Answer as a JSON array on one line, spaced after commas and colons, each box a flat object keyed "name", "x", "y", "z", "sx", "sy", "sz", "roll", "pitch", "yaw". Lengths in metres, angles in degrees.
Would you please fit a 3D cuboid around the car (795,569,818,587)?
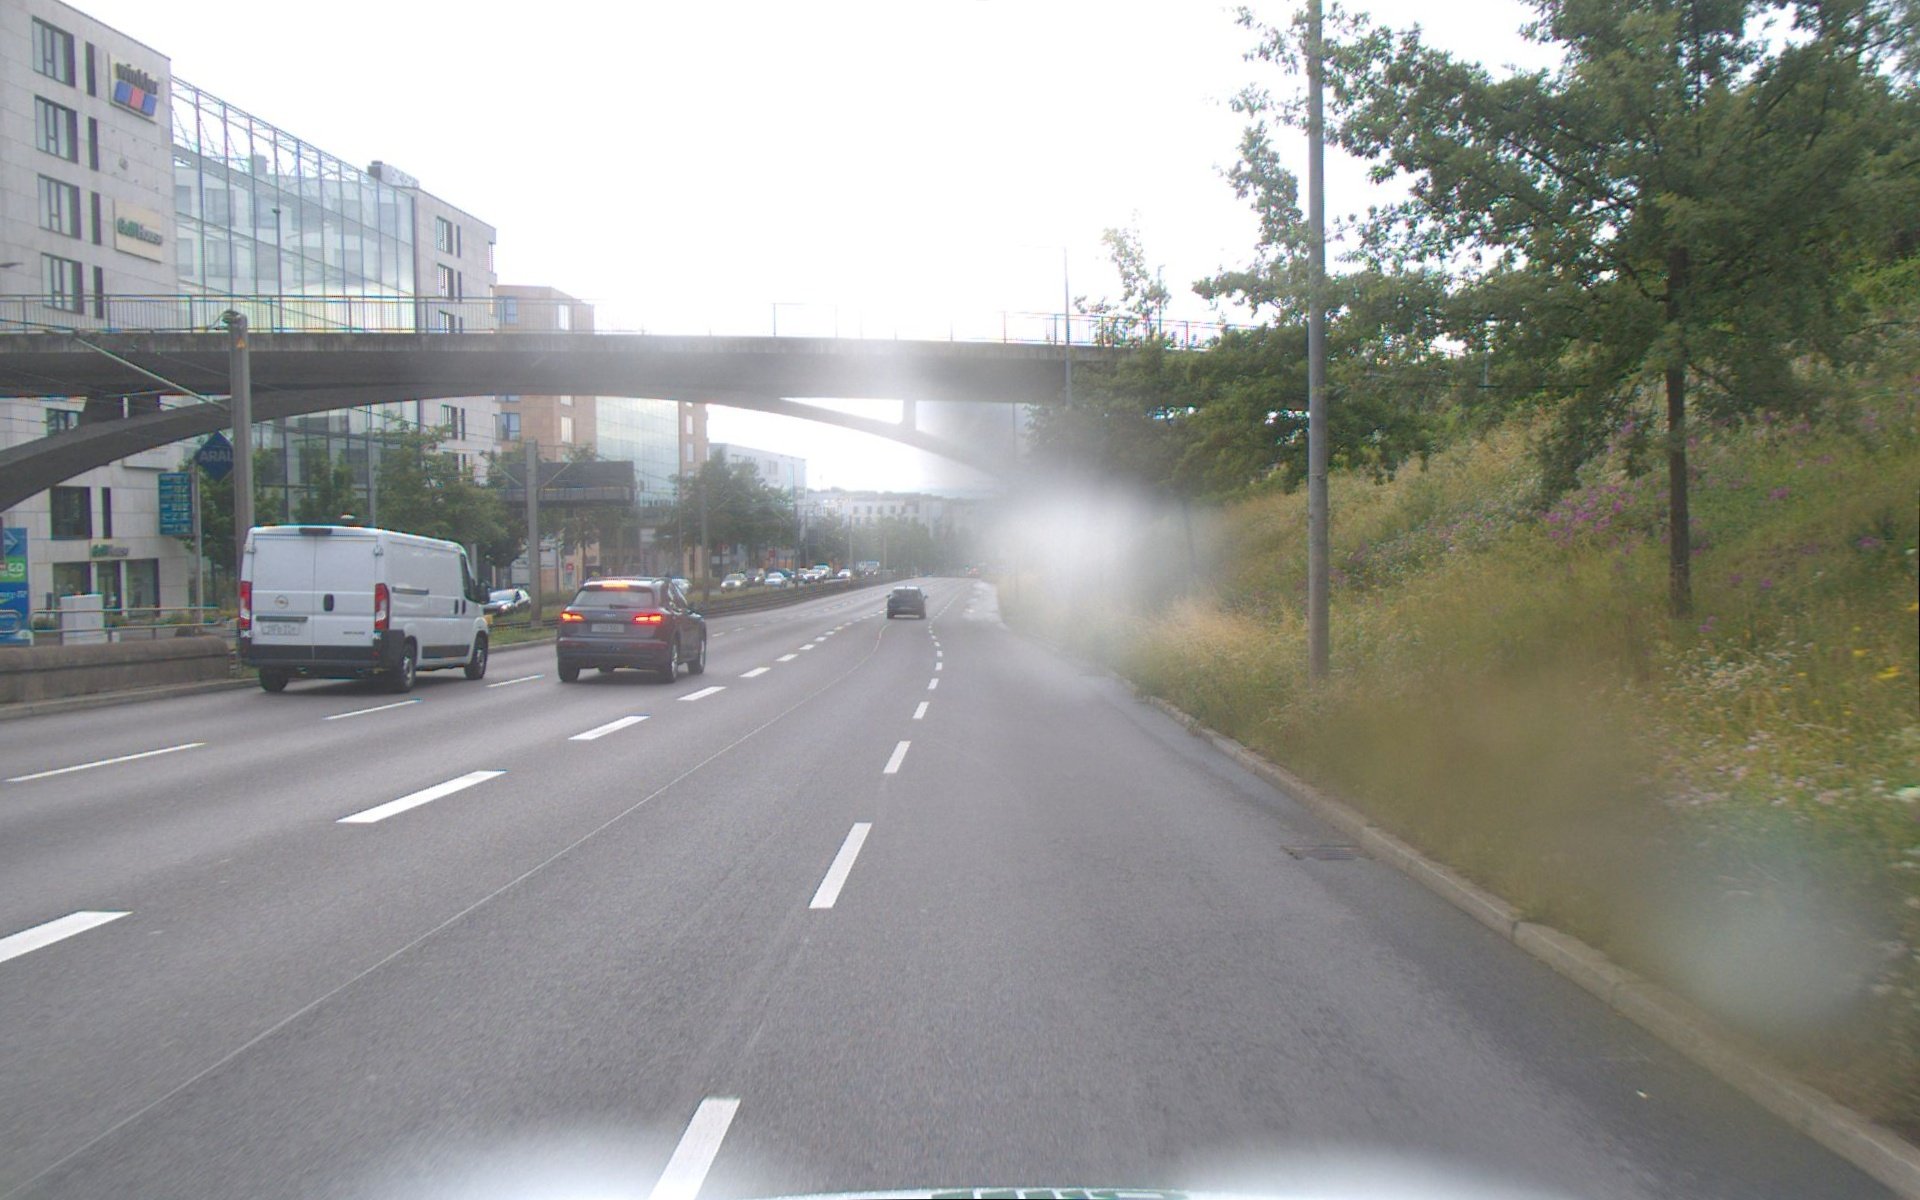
[{"name": "car", "x": -16.923, "y": -2.400, "z": 182.139, "sx": 1.952, "sy": 1.765, "sz": 4.250, "roll": 1, "pitch": 3, "yaw": 2}]

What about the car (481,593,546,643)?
[{"name": "car", "x": -20.668, "y": 0.798, "z": 76.731, "sx": 1.953, "sy": 2.048, "sz": 4.001, "roll": 1, "pitch": 3, "yaw": -1}]

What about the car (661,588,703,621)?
[{"name": "car", "x": -16.721, "y": 0.230, "z": 99.676, "sx": 1.953, "sy": 1.735, "sz": 4.000, "roll": 1, "pitch": 3, "yaw": -2}]

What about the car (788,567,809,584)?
[{"name": "car", "x": -19.187, "y": -2.931, "z": 196.941, "sx": 1.952, "sy": 1.765, "sz": 4.250, "roll": 1, "pitch": 3, "yaw": 2}]

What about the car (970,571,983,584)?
[{"name": "car", "x": 2.575, "y": -3.579, "z": 261.153, "sx": 1.825, "sy": 1.780, "sz": 3.999, "roll": 1, "pitch": 3, "yaw": -3}]

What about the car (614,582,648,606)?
[{"name": "car", "x": -28.330, "y": -0.524, "z": 142.530, "sx": 1.952, "sy": 2.049, "sz": 4.001, "roll": 0, "pitch": 0, "yaw": 2}]

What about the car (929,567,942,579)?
[{"name": "car", "x": -3.798, "y": -4.232, "z": 259.015, "sx": 1.825, "sy": 1.780, "sz": 3.999, "roll": 1, "pitch": 3, "yaw": -3}]

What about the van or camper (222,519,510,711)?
[{"name": "van or camper", "x": -8.608, "y": 0.067, "z": 24.616, "sx": 2.158, "sy": 2.480, "sz": 5.534, "roll": 1, "pitch": 3, "yaw": 1}]

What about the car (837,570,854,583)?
[{"name": "car", "x": -16.910, "y": -3.482, "z": 244.677, "sx": 1.952, "sy": 1.765, "sz": 4.250, "roll": 1, "pitch": 3, "yaw": 2}]

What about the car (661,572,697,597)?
[{"name": "car", "x": -22.188, "y": -1.226, "z": 130.593, "sx": 1.952, "sy": 1.765, "sz": 4.250, "roll": 1, "pitch": 3, "yaw": 2}]

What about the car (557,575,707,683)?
[{"name": "car", "x": -5.401, "y": 0.445, "z": 27.762, "sx": 1.715, "sy": 1.645, "sz": 4.747, "roll": 0, "pitch": 0, "yaw": -2}]

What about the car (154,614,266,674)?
[{"name": "car", "x": -26.704, "y": 1.538, "z": 59.038, "sx": 1.952, "sy": 1.765, "sz": 4.250, "roll": 1, "pitch": 3, "yaw": 2}]

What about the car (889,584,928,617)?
[{"name": "car", "x": -2.397, "y": 0.003, "z": 77.407, "sx": 1.713, "sy": 1.444, "sz": 3.479, "roll": 0, "pitch": 1, "yaw": 0}]

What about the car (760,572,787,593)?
[{"name": "car", "x": -17.982, "y": -1.722, "z": 159.866, "sx": 1.952, "sy": 1.765, "sz": 4.250, "roll": 1, "pitch": 3, "yaw": 2}]

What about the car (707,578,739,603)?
[{"name": "car", "x": -19.413, "y": -0.788, "z": 135.679, "sx": 1.952, "sy": 2.049, "sz": 4.001, "roll": 0, "pitch": 0, "yaw": 2}]
